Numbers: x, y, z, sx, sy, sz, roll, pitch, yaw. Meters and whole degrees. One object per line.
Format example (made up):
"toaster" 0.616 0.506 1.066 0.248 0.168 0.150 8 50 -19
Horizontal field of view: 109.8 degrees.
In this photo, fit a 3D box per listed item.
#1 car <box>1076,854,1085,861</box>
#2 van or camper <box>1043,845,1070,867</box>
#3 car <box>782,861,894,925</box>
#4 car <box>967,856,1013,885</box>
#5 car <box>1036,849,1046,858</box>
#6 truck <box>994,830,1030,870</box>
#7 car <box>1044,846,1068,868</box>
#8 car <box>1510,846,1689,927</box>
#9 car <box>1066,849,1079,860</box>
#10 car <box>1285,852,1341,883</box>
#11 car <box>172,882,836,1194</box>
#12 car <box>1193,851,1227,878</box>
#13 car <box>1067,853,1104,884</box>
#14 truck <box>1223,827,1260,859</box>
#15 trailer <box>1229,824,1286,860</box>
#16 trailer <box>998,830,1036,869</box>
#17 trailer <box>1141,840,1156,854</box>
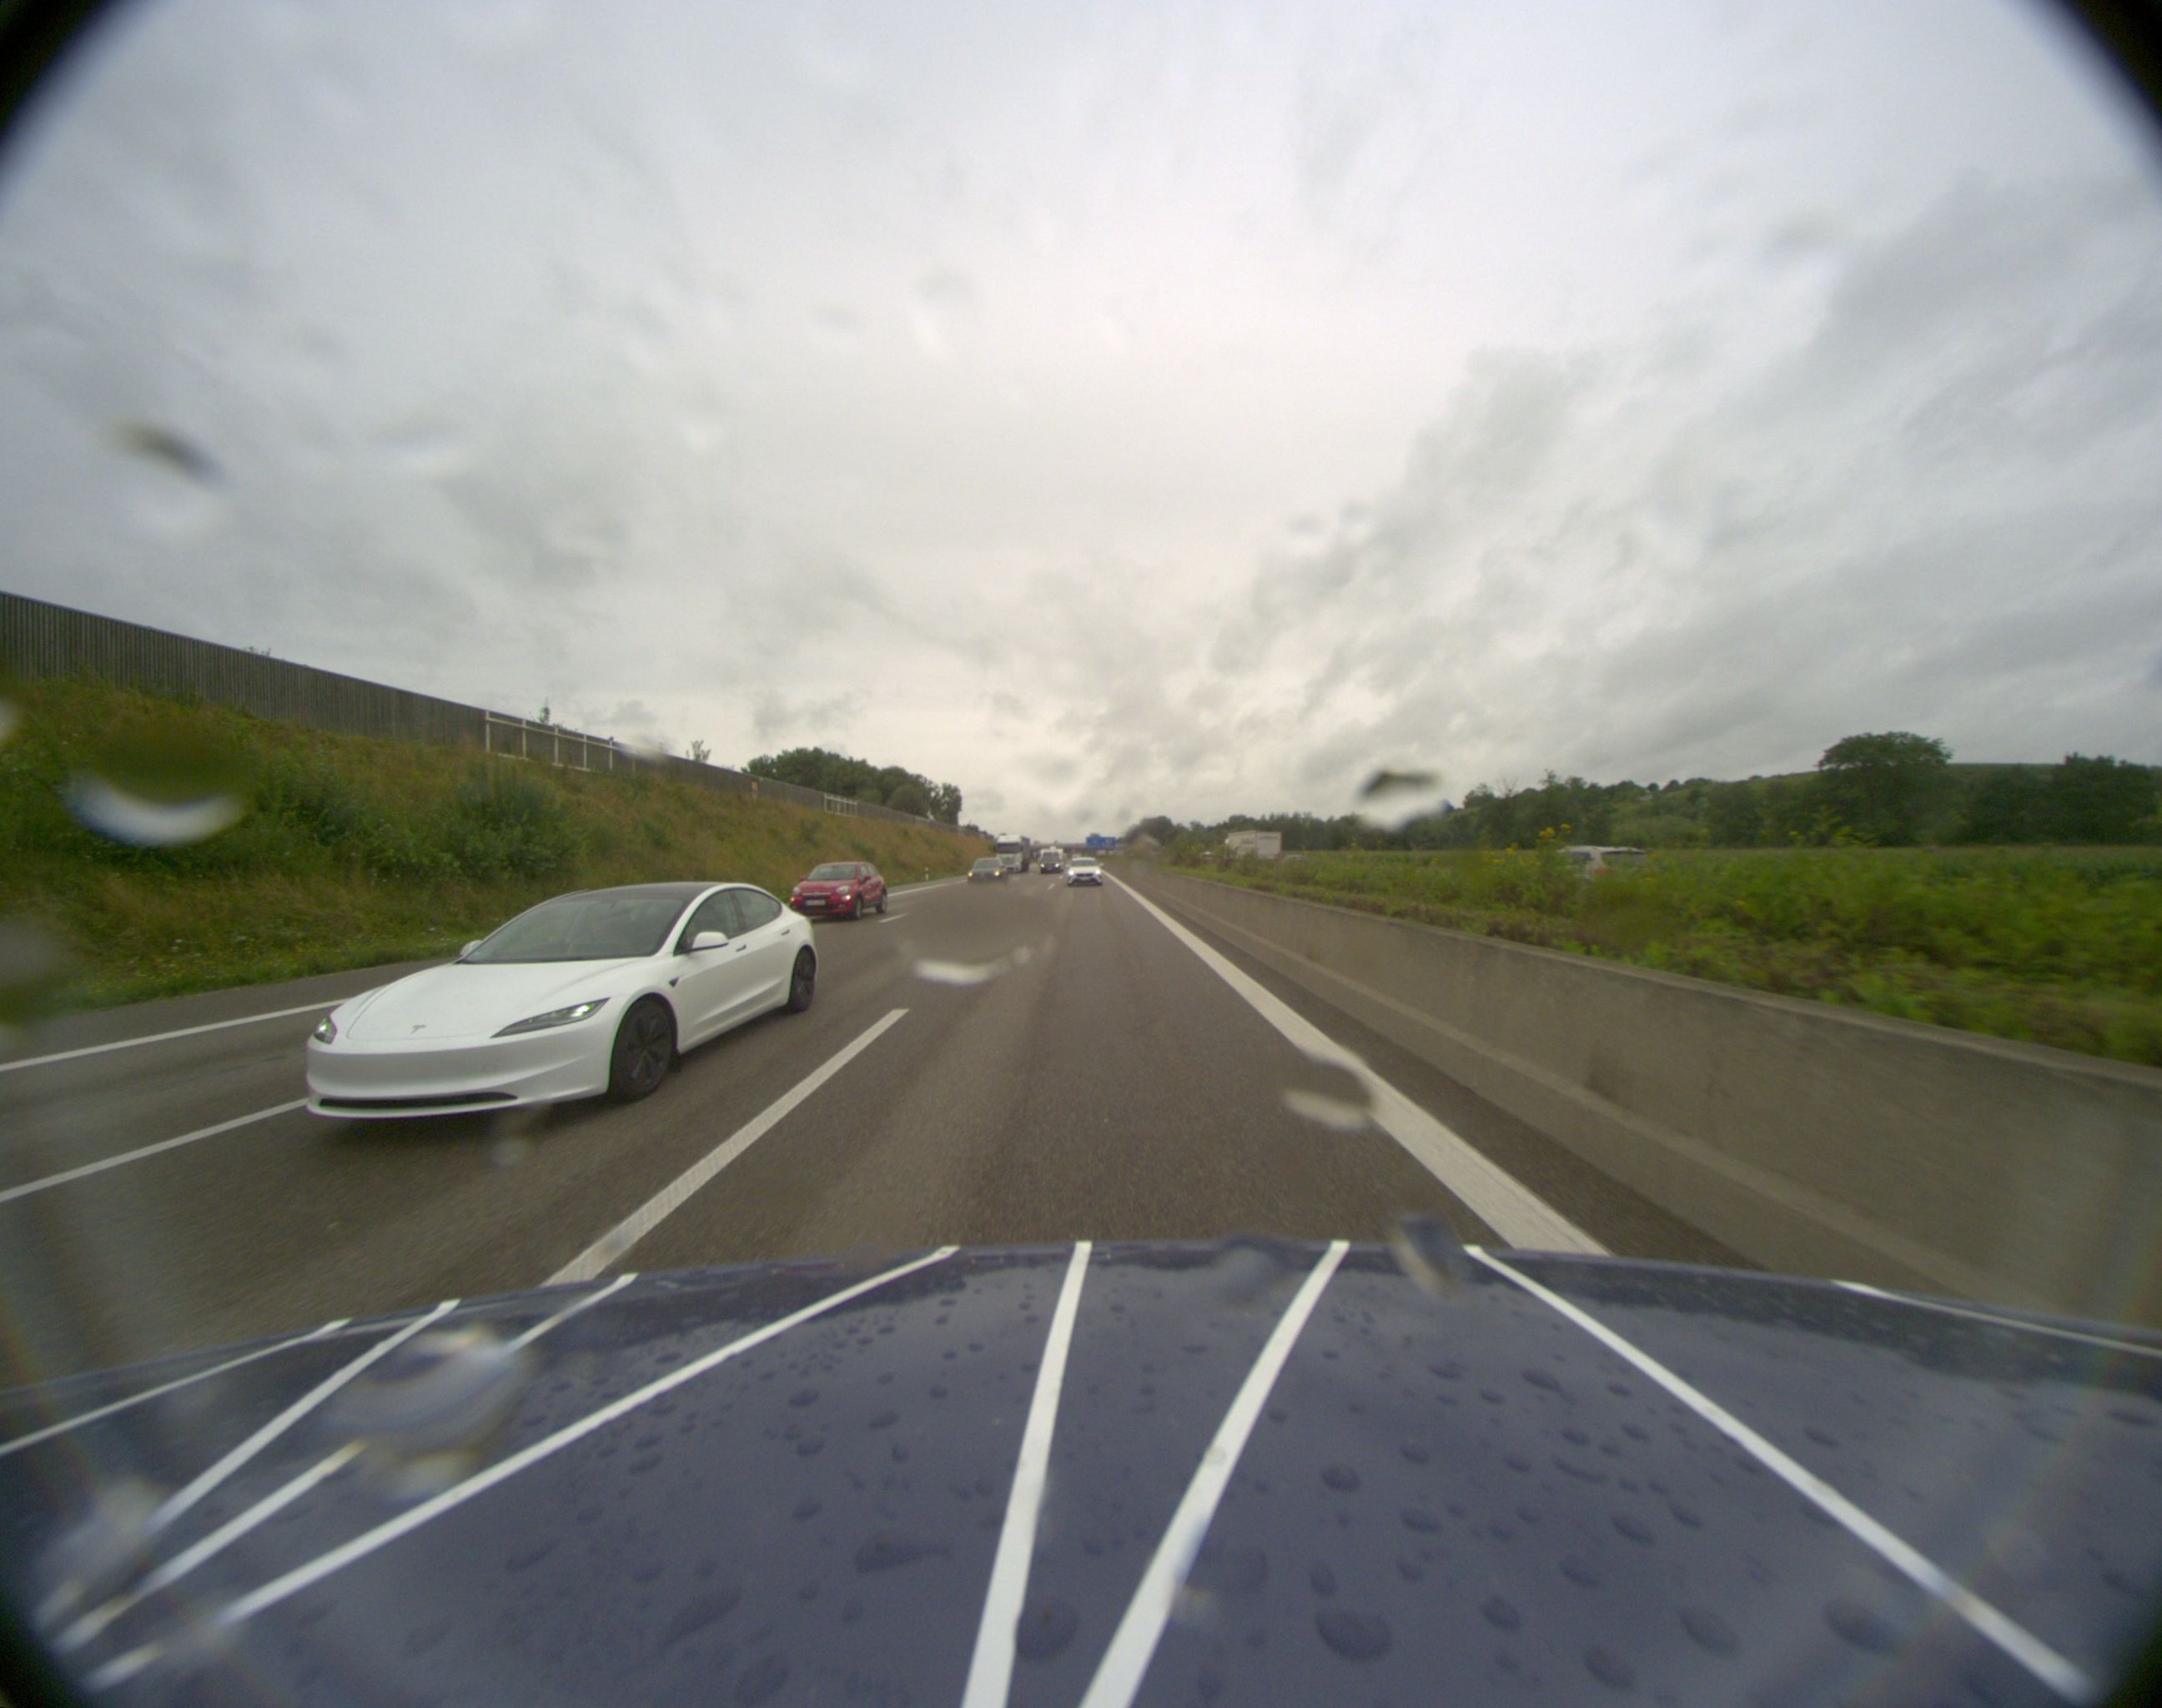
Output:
"car" -0.220 0.889 193.392 1.999 1.696 4.483 -2 0 -2
"van or camper" -2.522 0.122 80.282 2.432 2.139 6.498 -2 1 1
"car" -6.818 1.024 21.783 1.878 1.526 3.999 -2 1 -1
"car" -5.138 0.904 43.447 1.929 1.480 4.485 -2 1 2
"car" -8.659 -0.075 166.319 1.999 2.002 4.262 -1 0 -1
"truck" -7.295 -0.438 81.223 3.090 4.003 6.955 -2 1 -1
"car" -2.449 0.292 74.843 1.998 2.002 4.938 -2 1 2
"car" 14.089 0.797 21.030 1.998 2.002 4.348 1 0 1
"car" -1.353 0.114 123.074 1.998 1.759 4.000 0 0 0
"car" 13.675 0.745 44.966 1.998 1.687 4.348 1 0 1
"car" -3.835 1.072 6.442 1.878 1.355 4.812 -2 1 0
"car" 10.175 0.789 60.247 1.998 2.002 4.348 1 0 1
"car" 0.291 0.749 40.906 1.840 1.455 4.000 -2 1 2
"truck" 18.583 -1.263 88.291 2.977 3.409 5.627 -2 1 -1
"trailer" 18.545 -1.224 80.879 2.922 3.409 13.240 -2 1 0
"trailer" -7.323 -0.572 89.235 3.090 4.003 15.219 -2 1 -1
"trailer" 17.166 -1.794 193.930 2.794 3.309 9.924 -2 1 -1
